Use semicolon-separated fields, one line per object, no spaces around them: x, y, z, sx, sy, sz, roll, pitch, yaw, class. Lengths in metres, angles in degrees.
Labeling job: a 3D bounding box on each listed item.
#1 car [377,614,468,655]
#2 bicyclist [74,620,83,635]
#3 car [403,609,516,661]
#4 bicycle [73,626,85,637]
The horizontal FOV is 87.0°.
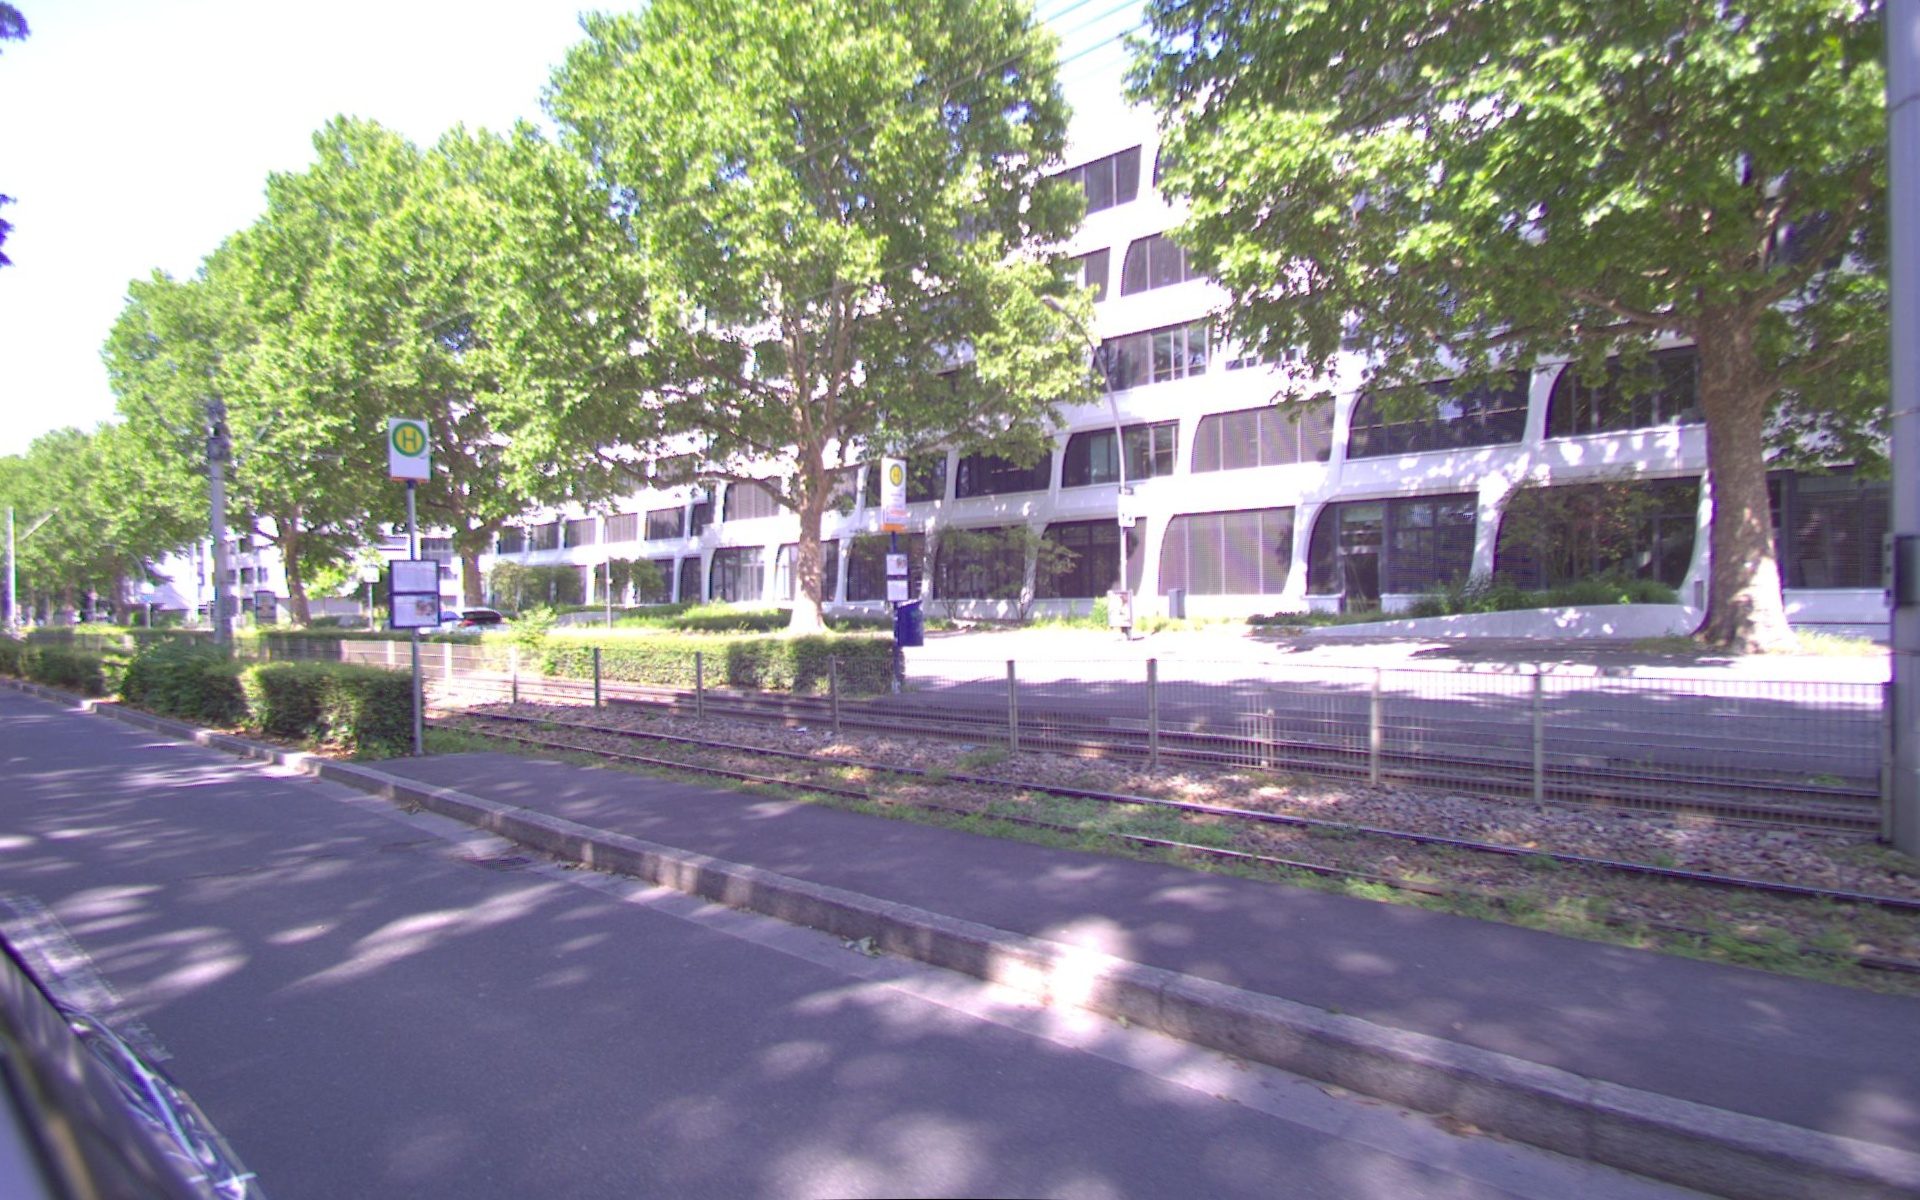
-23.141;1.453;43.488;4.893;1.636;1.811;-1;0;41;car
-93.527;2.935;107.381;0.640;1.546;0.647;-2;0;41;bicyclist
-16.522;1.130;33.331;4.302;1.574;1.792;-1;0;41;car
-93.578;3.318;107.449;2.030;1.132;0.657;-1;0;41;bicycle
